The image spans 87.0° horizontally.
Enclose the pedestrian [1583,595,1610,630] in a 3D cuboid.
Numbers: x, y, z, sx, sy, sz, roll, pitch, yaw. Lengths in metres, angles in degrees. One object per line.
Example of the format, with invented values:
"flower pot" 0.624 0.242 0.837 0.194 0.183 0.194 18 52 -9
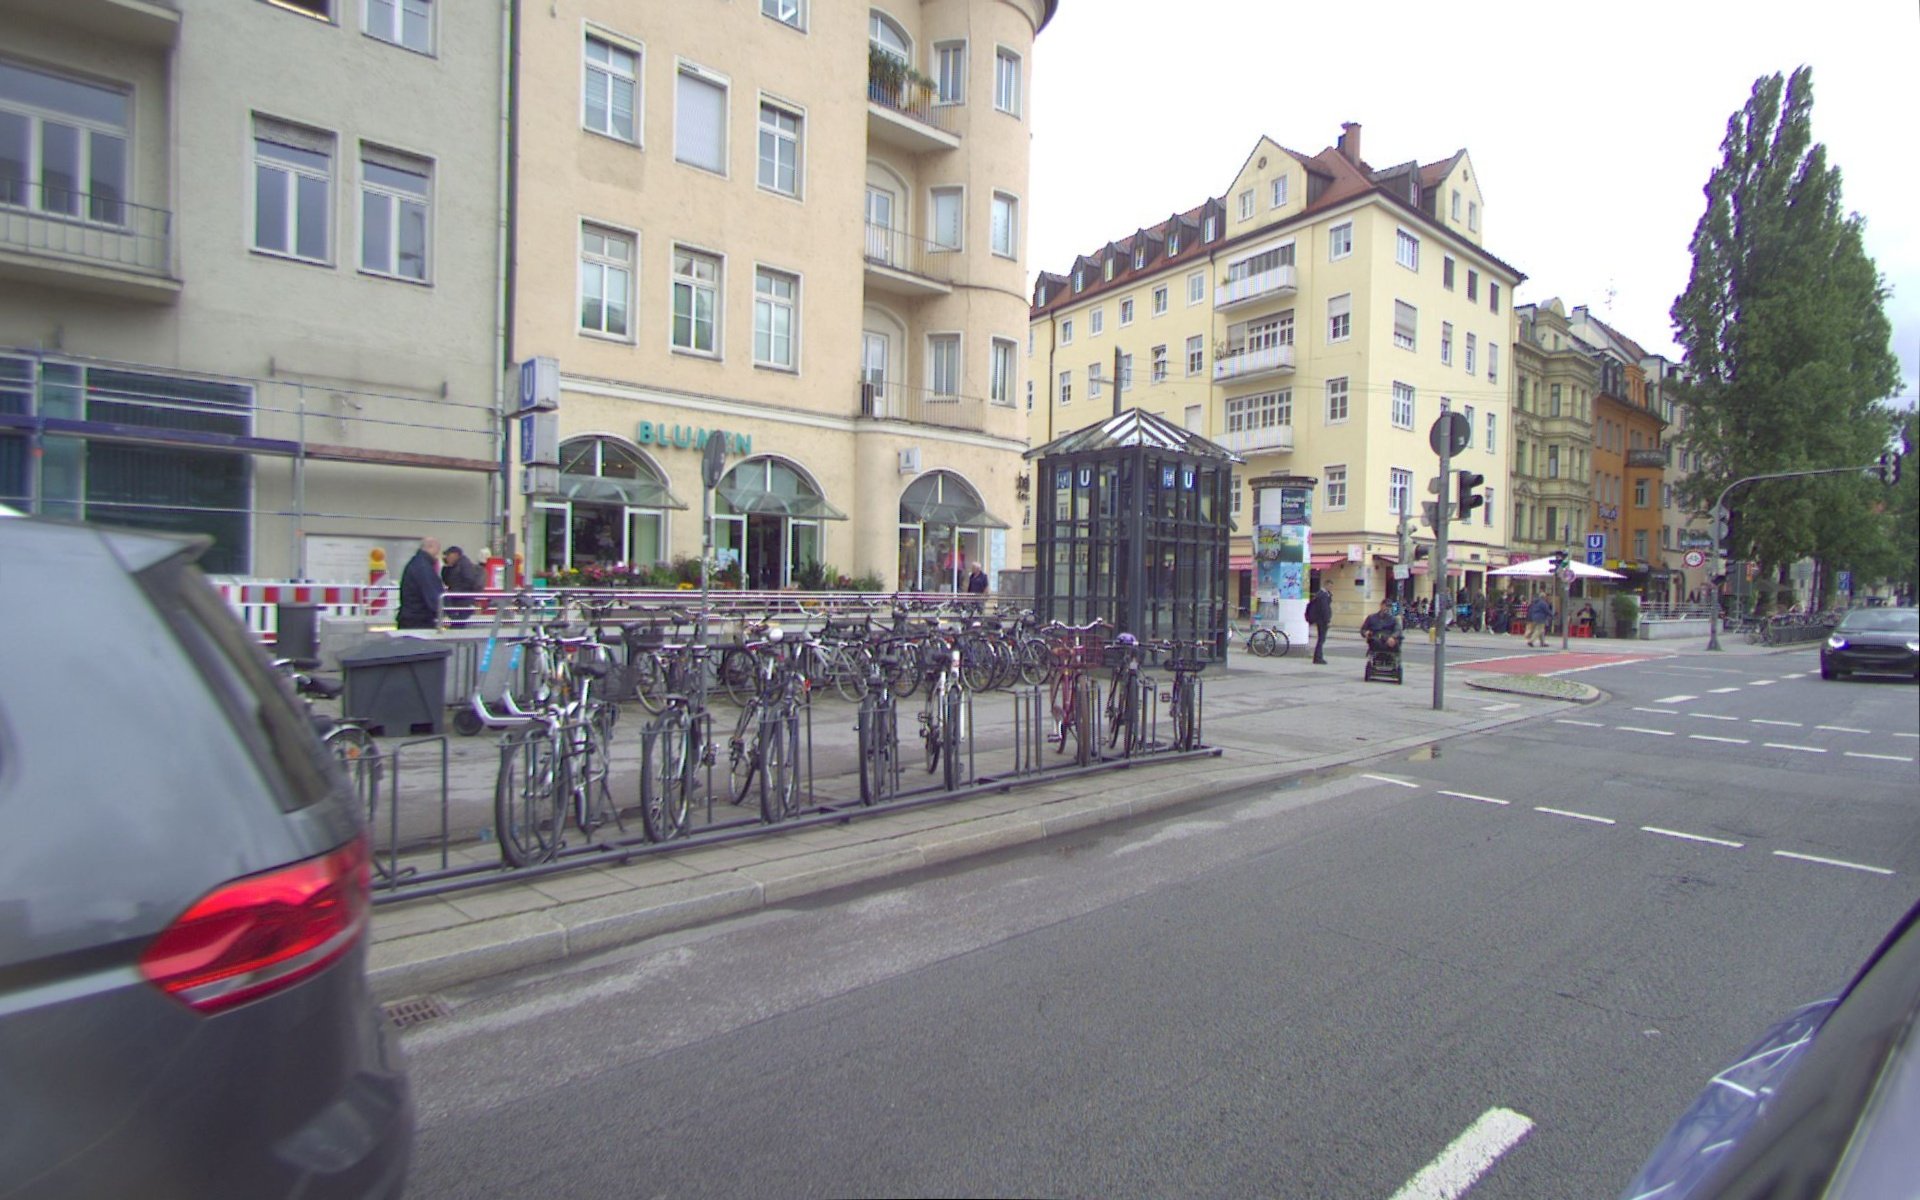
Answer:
"pedestrian" 24.365 0.467 38.732 0.782 1.327 0.679 0 1 -41

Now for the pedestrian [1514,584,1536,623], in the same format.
"pedestrian" 24.480 0.163 43.834 0.666 1.653 0.616 1 1 -41

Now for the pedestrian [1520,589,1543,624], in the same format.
"pedestrian" 24.268 0.283 42.964 0.606 1.440 0.677 1 1 -41

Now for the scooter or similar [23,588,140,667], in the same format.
"scooter or similar" -11.293 0.341 13.018 1.106 0.955 0.536 1 2 -43

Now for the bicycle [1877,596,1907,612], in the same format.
"bicycle" 65.583 0.277 71.224 0.352 1.116 1.748 1 1 -7

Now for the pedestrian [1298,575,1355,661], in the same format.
"pedestrian" 7.543 0.360 20.859 0.803 1.712 0.838 1 1 -4

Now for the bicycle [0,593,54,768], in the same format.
"bicycle" -7.214 0.524 6.840 1.688 1.156 0.370 1 1 -9

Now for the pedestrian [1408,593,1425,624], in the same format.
"pedestrian" 19.624 0.379 43.525 0.518 1.315 0.479 1 1 -43

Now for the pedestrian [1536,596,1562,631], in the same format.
"pedestrian" 23.350 0.524 40.116 0.782 1.328 0.679 0 1 -41

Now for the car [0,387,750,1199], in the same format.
"car" -2.699 0.549 0.977 4.627 1.667 1.774 0 1 -42

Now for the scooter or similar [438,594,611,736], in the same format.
"scooter or similar" -3.759 0.559 8.795 1.319 1.190 0.365 1 1 -11

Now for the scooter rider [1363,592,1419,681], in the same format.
"scooter rider" 7.128 0.582 16.745 0.699 1.406 0.635 2 1 36

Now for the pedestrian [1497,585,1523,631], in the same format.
"pedestrian" 20.845 0.280 38.386 0.752 1.716 0.762 2 1 23

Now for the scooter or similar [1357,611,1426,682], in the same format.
"scooter or similar" 7.172 0.743 16.796 0.773 1.088 1.240 2 1 36

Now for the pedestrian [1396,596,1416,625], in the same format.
"pedestrian" 18.536 0.434 42.076 0.691 1.197 0.515 1 1 -43

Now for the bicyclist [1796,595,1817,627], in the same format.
"bicyclist" 44.713 0.568 53.439 0.923 1.623 0.681 1 1 -42

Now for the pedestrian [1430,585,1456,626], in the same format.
"pedestrian" 20.141 0.231 42.225 0.773 1.653 0.711 1 1 -41

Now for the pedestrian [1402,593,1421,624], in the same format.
"pedestrian" 19.067 0.364 42.744 0.691 1.308 0.515 1 1 -43

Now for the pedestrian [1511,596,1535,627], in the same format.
"pedestrian" 22.729 0.442 40.868 0.688 1.218 0.627 0 1 -41

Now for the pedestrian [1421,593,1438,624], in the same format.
"pedestrian" 20.014 0.368 43.162 0.518 1.315 0.479 1 1 -43

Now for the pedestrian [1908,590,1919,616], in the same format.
"pedestrian" 67.851 0.229 71.679 0.741 1.824 0.883 2 -1 -31

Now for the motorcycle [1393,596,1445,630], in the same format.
"motorcycle" 17.565 0.491 38.790 1.744 1.215 0.539 1 1 20

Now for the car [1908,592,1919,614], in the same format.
"car" 77.459 0.265 81.217 4.426 1.681 1.735 0 1 -43

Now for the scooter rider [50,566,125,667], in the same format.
"scooter rider" -11.271 0.195 13.072 0.707 1.234 0.686 1 2 -43

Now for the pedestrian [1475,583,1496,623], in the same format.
"pedestrian" 23.368 0.134 45.007 0.654 1.761 0.601 1 1 -41

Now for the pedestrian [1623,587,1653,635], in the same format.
"pedestrian" 25.390 0.400 37.907 0.877 1.765 0.848 2 1 32

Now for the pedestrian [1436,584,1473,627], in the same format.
"pedestrian" 20.163 0.217 41.305 1.018 1.704 0.840 1 1 -9

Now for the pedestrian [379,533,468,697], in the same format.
"pedestrian" -6.004 0.146 11.320 0.744 1.749 0.815 1 2 -36

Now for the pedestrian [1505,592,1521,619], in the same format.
"pedestrian" 27.064 0.287 49.540 0.543 1.305 0.496 1 1 -41

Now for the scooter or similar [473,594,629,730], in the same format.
"scooter or similar" -3.684 0.559 9.168 1.250 1.190 0.302 1 1 -11

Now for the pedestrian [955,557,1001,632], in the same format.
"pedestrian" 0.427 -0.140 24.322 0.671 1.727 0.745 5 -1 -43

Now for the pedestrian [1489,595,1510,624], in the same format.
"pedestrian" 23.712 0.424 44.513 0.654 1.237 0.601 1 1 -41

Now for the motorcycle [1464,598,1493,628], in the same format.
"motorcycle" 20.900 0.505 40.753 1.544 1.171 0.487 0 1 -41

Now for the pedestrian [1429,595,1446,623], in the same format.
"pedestrian" 20.669 0.371 43.804 0.518 1.180 0.479 1 1 -43

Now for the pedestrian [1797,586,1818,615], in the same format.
"pedestrian" 47.037 0.033 56.143 0.749 1.582 0.761 1 0 -40

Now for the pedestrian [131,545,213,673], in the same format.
"pedestrian" -9.957 0.099 12.784 0.745 1.536 0.779 1 2 -43

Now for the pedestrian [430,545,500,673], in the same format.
"pedestrian" -6.786 0.104 13.866 0.708 1.691 0.659 1 2 -38

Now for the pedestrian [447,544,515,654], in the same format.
"pedestrian" -7.510 -0.028 15.869 0.745 1.671 0.752 1 2 -43

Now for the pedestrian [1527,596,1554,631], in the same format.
"pedestrian" 22.696 0.522 39.537 0.782 1.328 0.679 0 1 -41

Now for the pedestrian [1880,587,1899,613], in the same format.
"pedestrian" 65.573 -0.011 71.383 0.638 1.803 0.702 1 0 -8

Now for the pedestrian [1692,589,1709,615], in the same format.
"pedestrian" 51.419 0.134 70.298 0.999 1.735 0.747 1 1 -42

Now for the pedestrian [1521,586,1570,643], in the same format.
"pedestrian" 18.862 0.445 32.606 1.044 1.777 0.937 1 1 -32

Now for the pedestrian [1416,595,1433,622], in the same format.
"pedestrian" 20.272 0.375 44.160 0.518 1.180 0.479 1 1 -43

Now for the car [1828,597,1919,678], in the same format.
"car" 19.599 0.721 21.104 3.902 1.523 1.778 -1 0 -42

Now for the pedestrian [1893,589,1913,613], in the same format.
"pedestrian" 66.439 0.055 71.281 0.743 1.658 0.700 1 0 5
